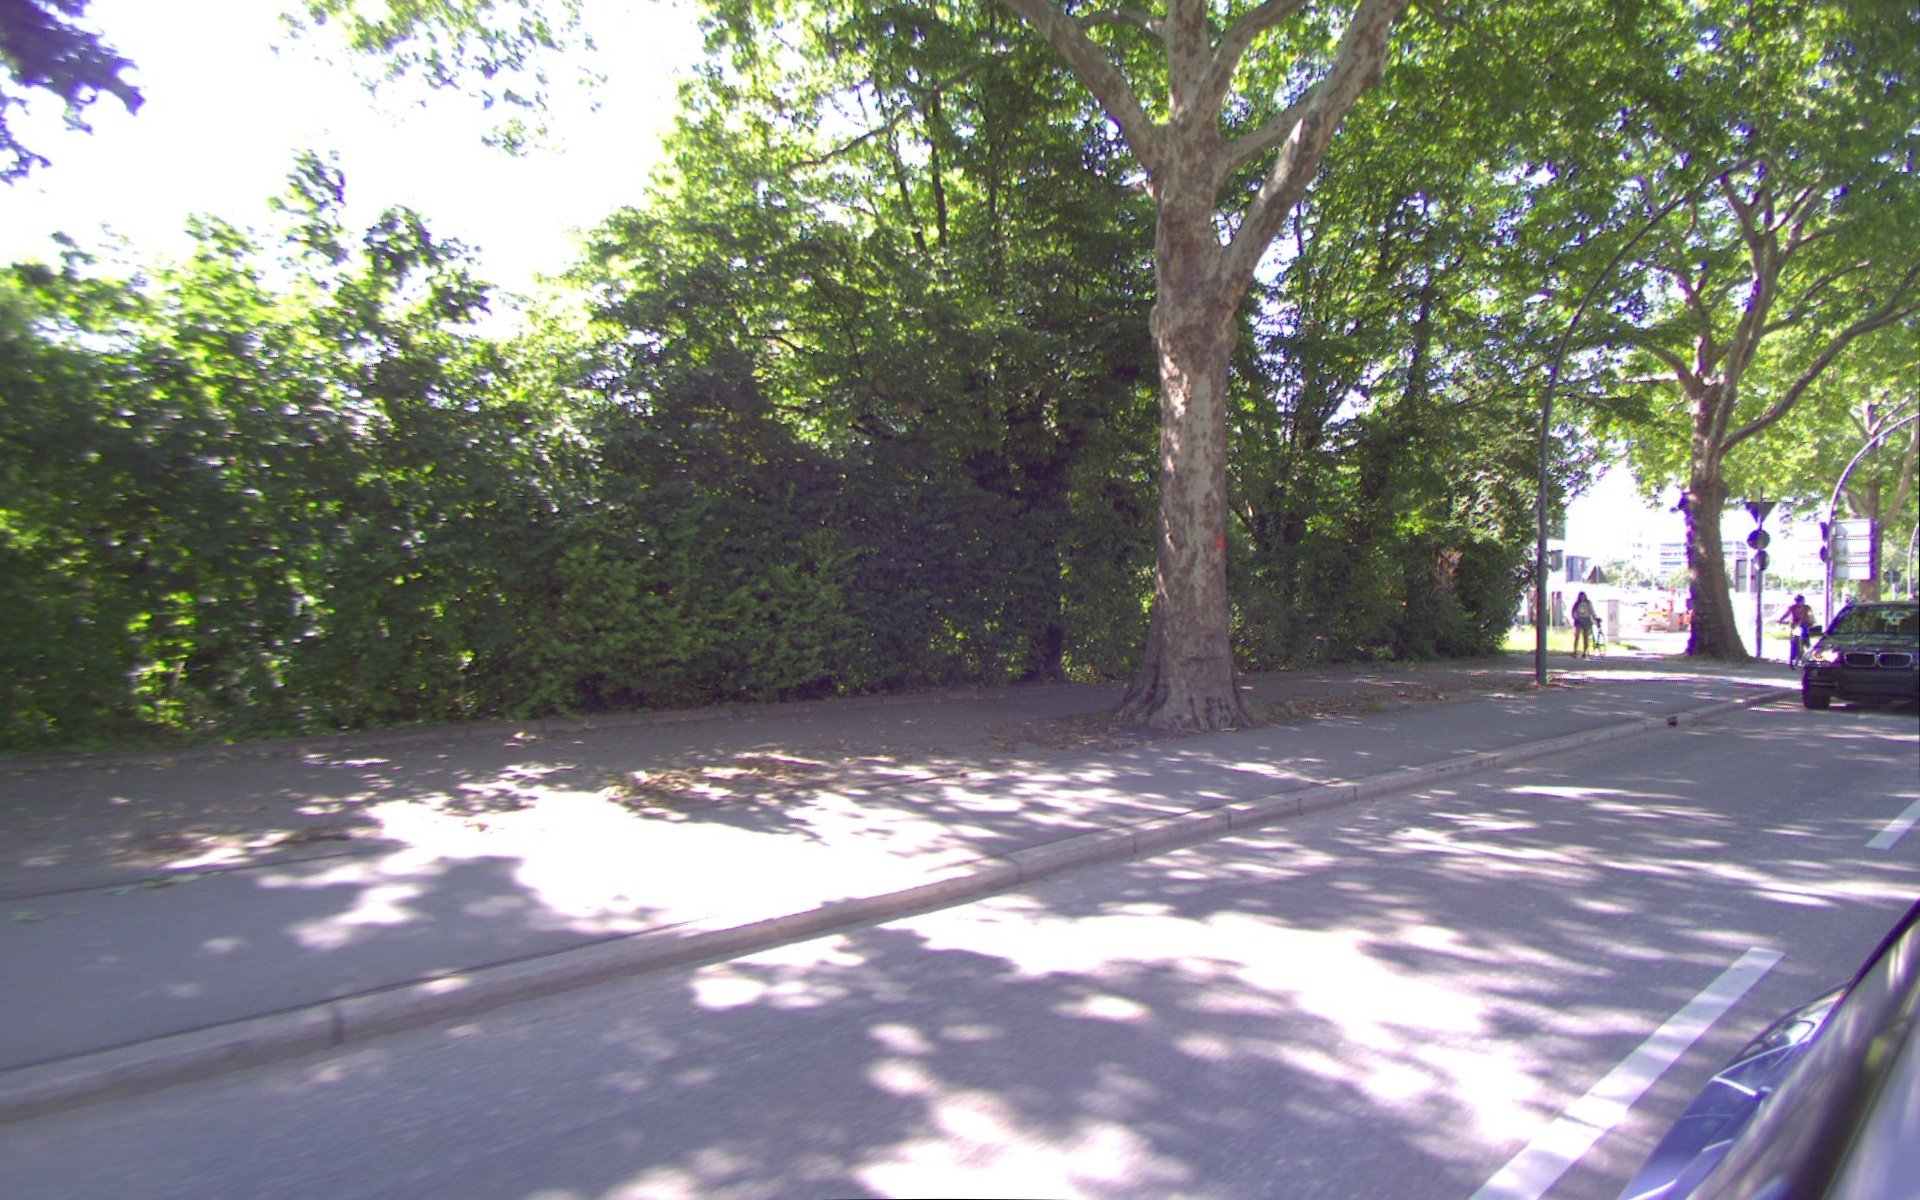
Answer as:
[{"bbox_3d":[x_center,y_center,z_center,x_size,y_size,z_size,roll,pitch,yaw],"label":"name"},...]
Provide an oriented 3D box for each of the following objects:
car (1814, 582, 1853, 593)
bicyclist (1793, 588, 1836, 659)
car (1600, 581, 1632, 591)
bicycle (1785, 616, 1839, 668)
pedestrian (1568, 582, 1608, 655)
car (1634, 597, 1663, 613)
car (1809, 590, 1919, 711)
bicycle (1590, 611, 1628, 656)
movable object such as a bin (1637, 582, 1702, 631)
[{"bbox_3d":[121.755,-1.733,141.094,1.778,1.529,3.991,1,0,-43],"label":"car"},{"bbox_3d":[20.115,0.544,23.819,0.719,1.620,0.621,1,1,-42],"label":"bicyclist"},{"bbox_3d":[104.404,-2.279,161.101,1.778,1.529,3.991,1,0,-43],"label":"car"},{"bbox_3d":[19.987,0.957,23.728,1.911,1.143,0.653,0,1,-41],"label":"bicycle"},{"bbox_3d":[15.892,0.458,25.594,0.859,1.808,0.633,1,-1,-40],"label":"pedestrian"},{"bbox_3d":[121.365,0.803,178.322,1.778,2.773,3.991,1,-1,-43],"label":"car"},{"bbox_3d":[15.188,0.738,16.088,4.078,1.752,1.923,0,-1,-40],"label":"car"},{"bbox_3d":[16.325,0.838,25.449,1.669,1.095,0.350,1,-1,-40],"label":"bicycle"},{"bbox_3d":[47.165,0.415,67.226,5.884,3.111,2.371,1,-1,-43],"label":"movable object such as a bin"}]
